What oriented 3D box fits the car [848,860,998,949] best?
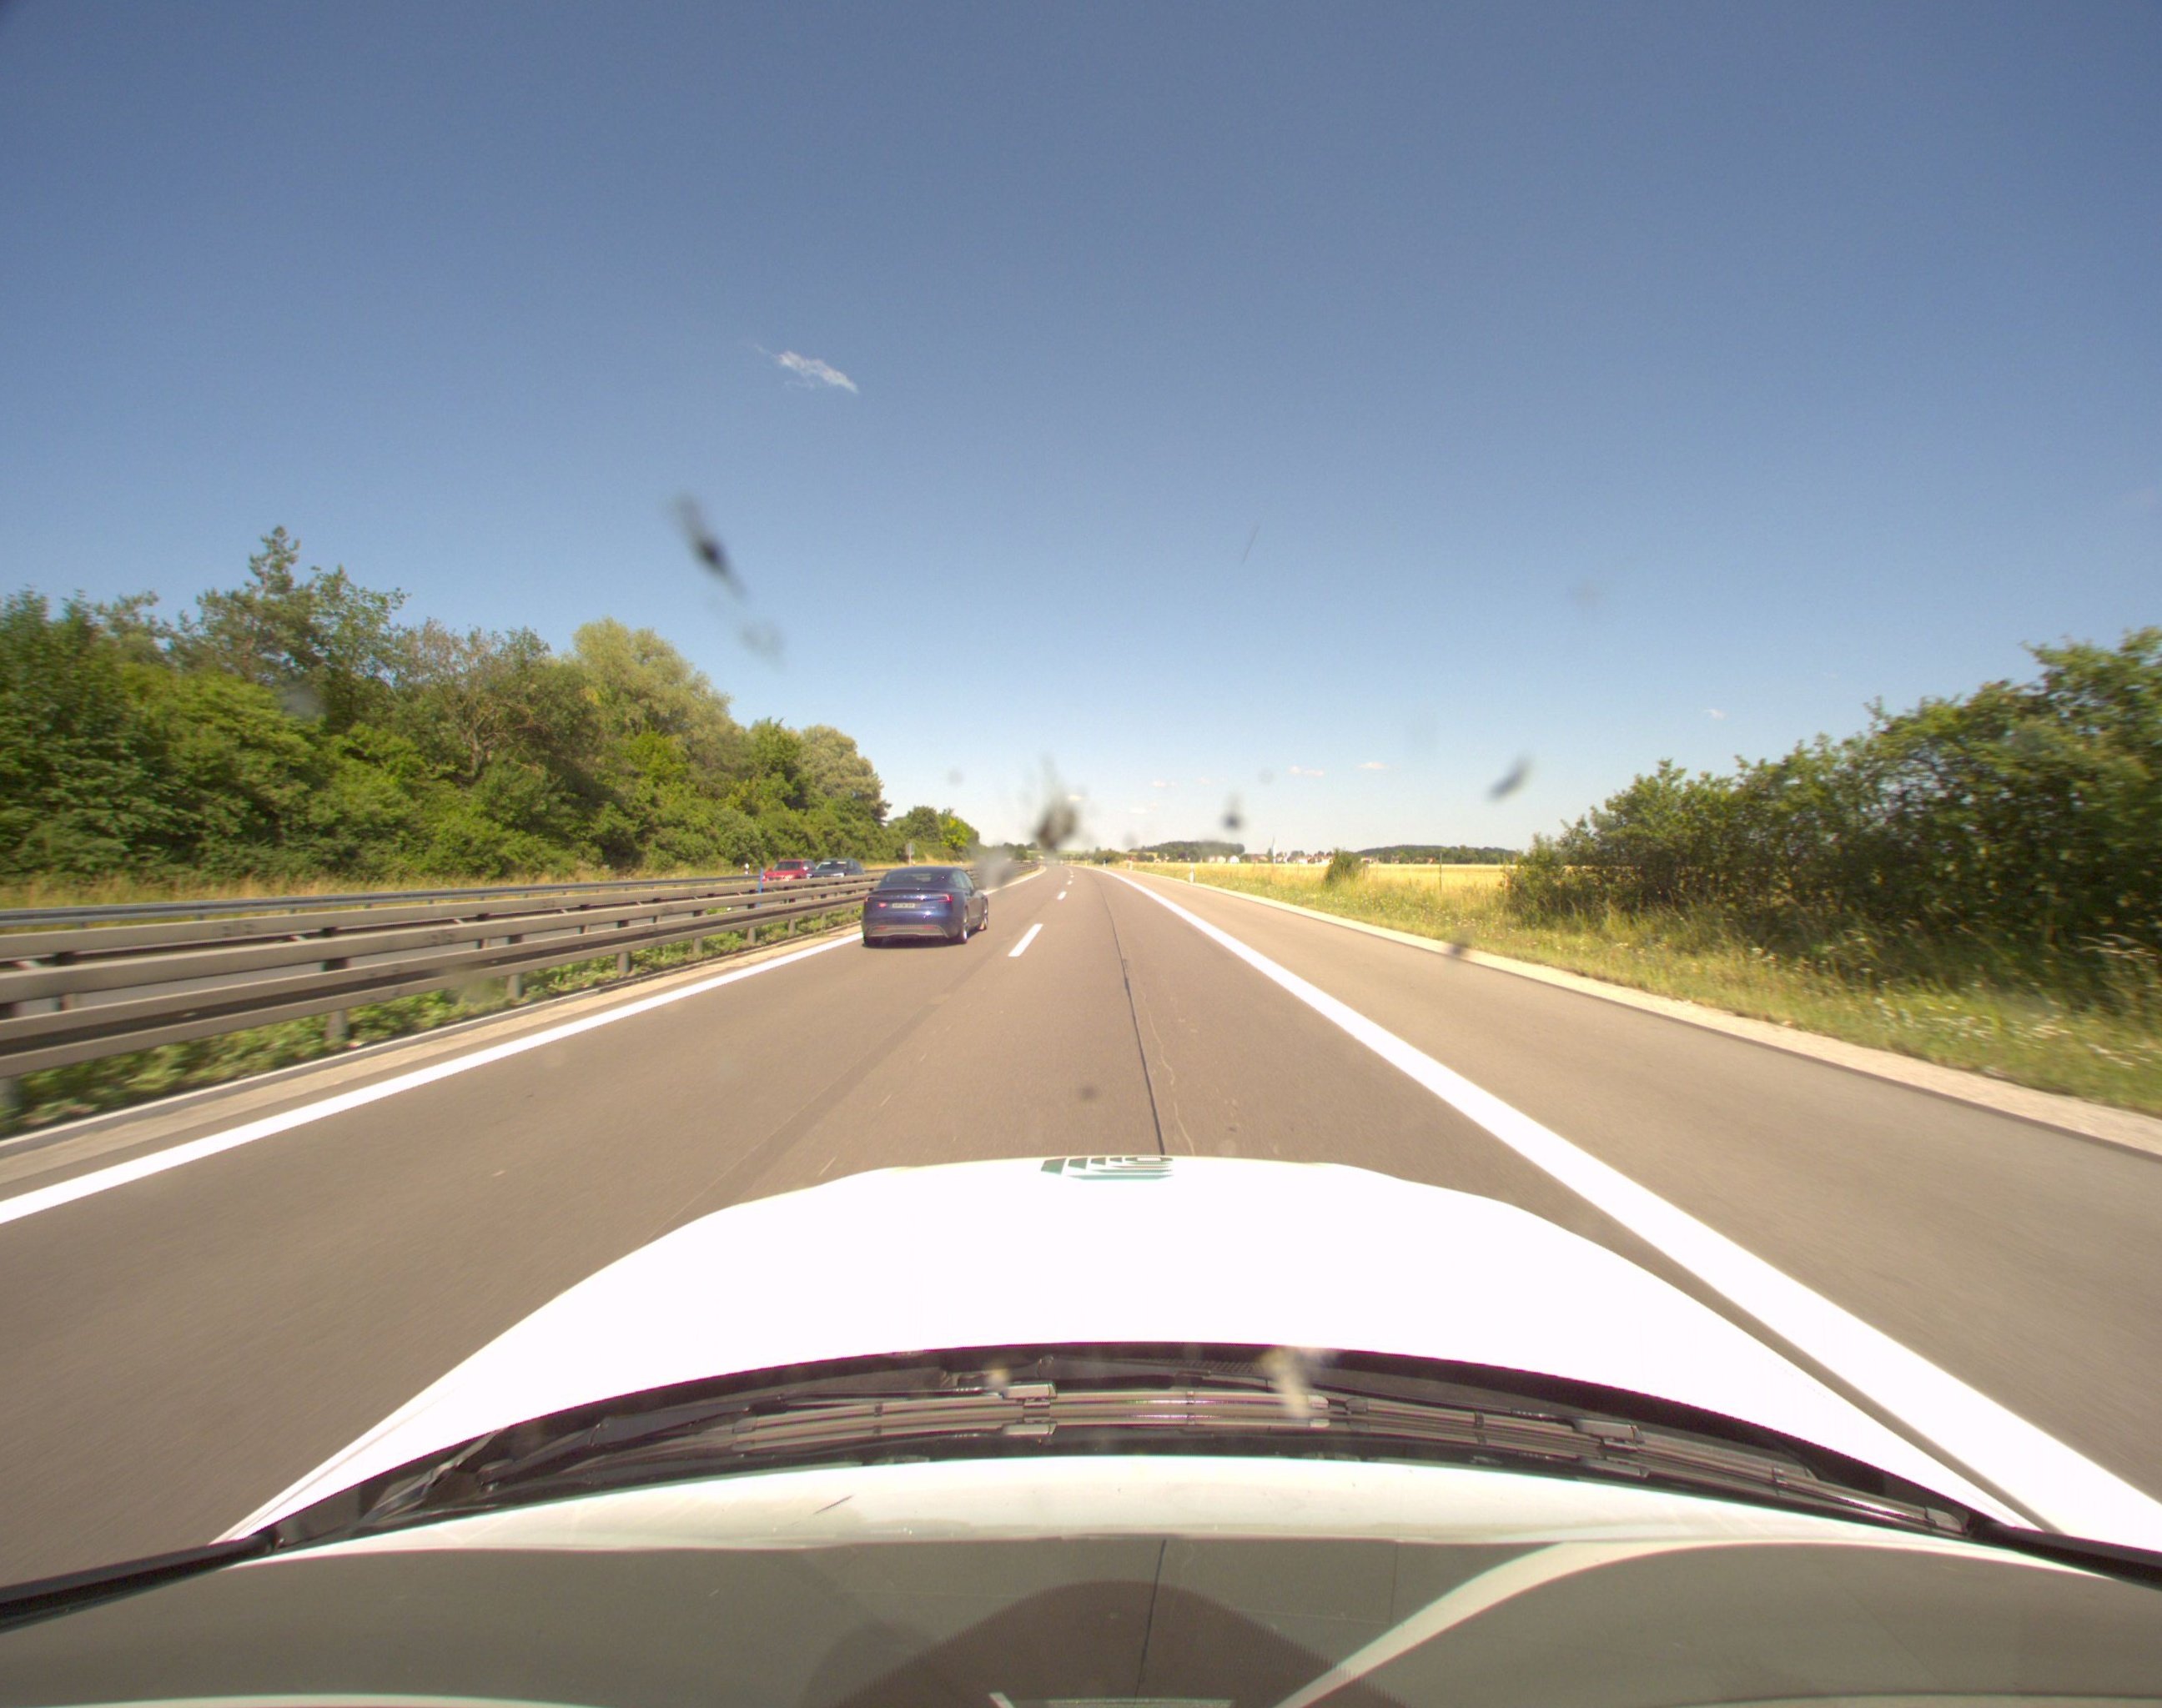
[{"bbox_3d":[-2.956,0.878,16.653,1.841,1.433,5.866,-1,0,1],"label":"car"}]

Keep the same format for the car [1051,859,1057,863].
[{"bbox_3d":[-8.438,2.233,254.984,1.671,1.453,3.591,-1,-1,0],"label":"car"}]

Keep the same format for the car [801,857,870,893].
[{"bbox_3d":[-10.884,0.904,36.451,1.644,1.493,4.539,-1,0,0],"label":"car"}]

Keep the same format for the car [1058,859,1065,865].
[{"bbox_3d":[-5.195,2.159,214.302,1.672,1.453,3.587,-1,-1,-4],"label":"car"}]

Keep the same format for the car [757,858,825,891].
[{"bbox_3d":[-14.020,0.966,39.688,1.644,1.493,4.539,-1,0,0],"label":"car"}]

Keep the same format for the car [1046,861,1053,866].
[{"bbox_3d":[-7.968,2.391,206.474,1.672,1.453,3.589,-1,-1,-2],"label":"car"}]
